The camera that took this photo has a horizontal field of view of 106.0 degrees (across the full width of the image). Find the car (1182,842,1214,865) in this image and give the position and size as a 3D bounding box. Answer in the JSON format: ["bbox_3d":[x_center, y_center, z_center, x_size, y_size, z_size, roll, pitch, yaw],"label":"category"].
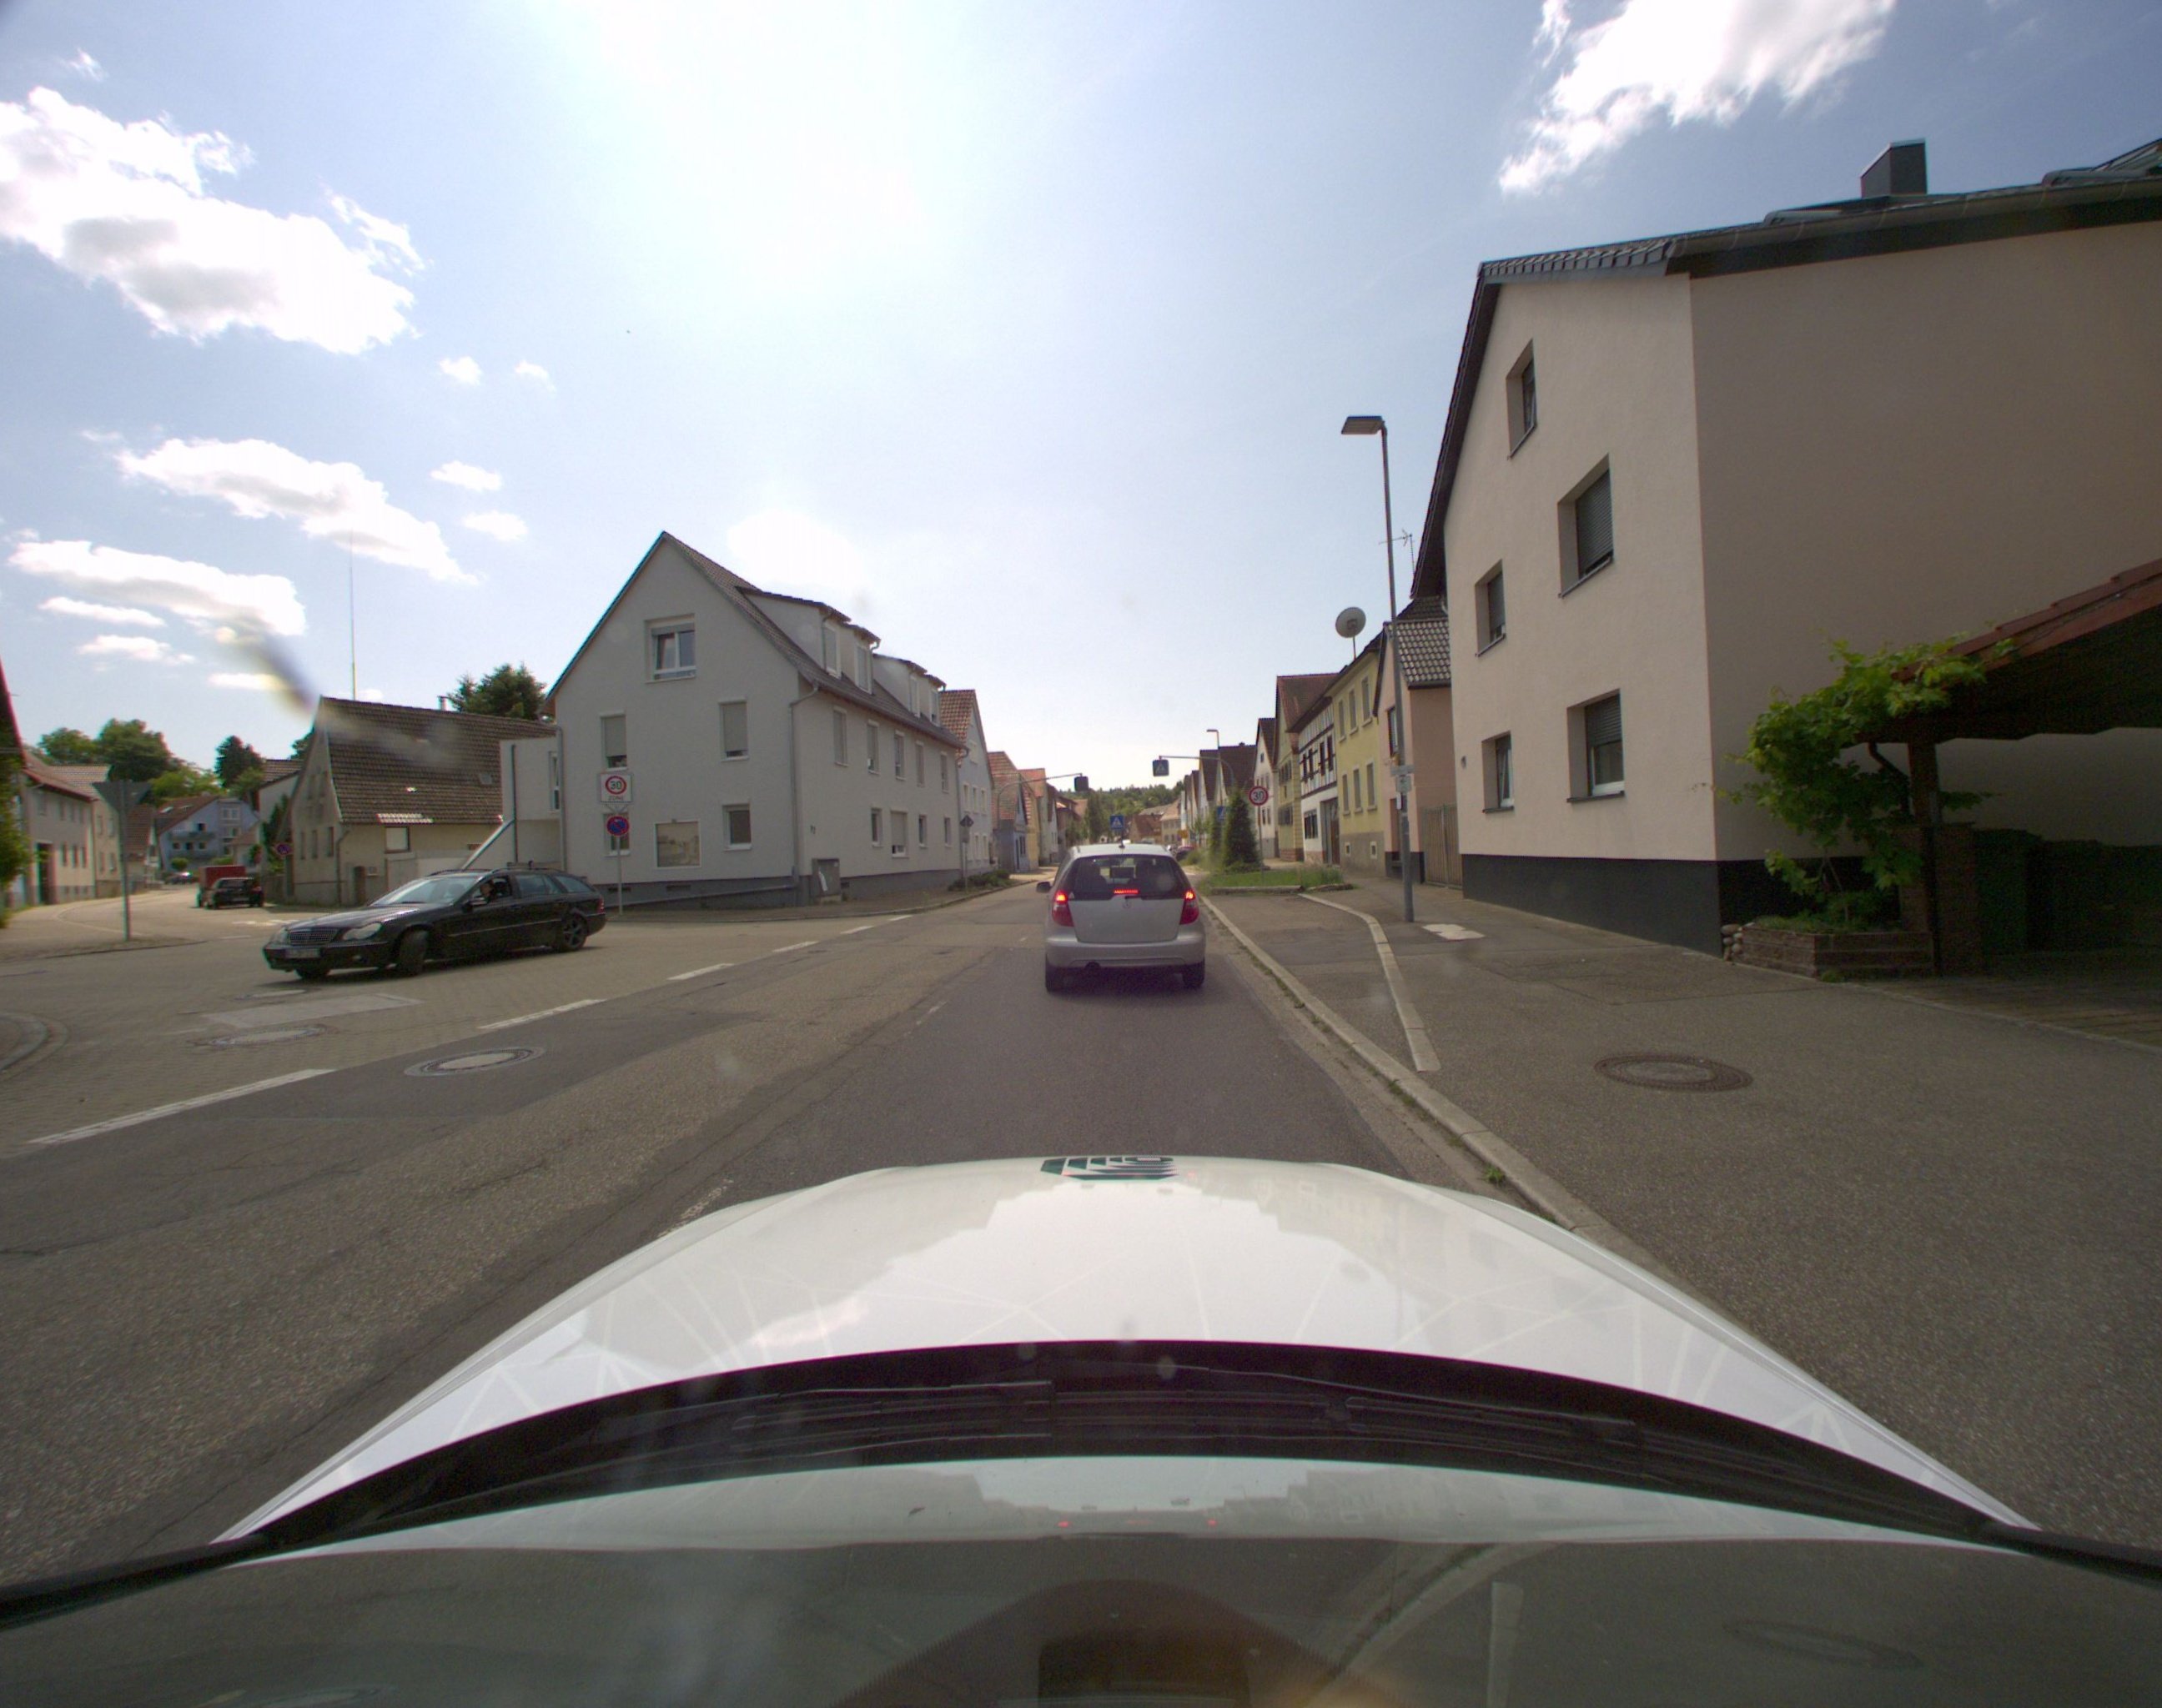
[{"bbox_3d":[8.310,-0.022,58.203,1.985,1.508,4.004,-2,-2,4],"label":"car"}]

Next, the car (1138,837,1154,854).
[{"bbox_3d":[8.476,-1.078,107.094,1.985,2.014,4.004,-2,-2,4],"label":"car"}]

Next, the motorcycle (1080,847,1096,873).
[{"bbox_3d":[0.445,0.367,52.077,0.876,1.561,1.969,-2,1,3],"label":"motorcycle"}]

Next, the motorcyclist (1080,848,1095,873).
[{"bbox_3d":[0.430,0.427,52.006,0.892,1.554,0.808,-2,0,3],"label":"motorcyclist"}]

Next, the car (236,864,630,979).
[{"bbox_3d":[-9.387,0.902,12.448,1.797,1.412,4.649,-2,-2,10],"label":"car"}]

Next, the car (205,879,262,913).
[{"bbox_3d":[-40.890,2.037,39.261,3.431,1.530,1.500,-3,-2,37],"label":"car"}]

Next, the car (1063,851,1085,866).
[{"bbox_3d":[-0.708,0.429,76.668,1.988,1.321,3.706,-1,-2,-1],"label":"car"}]

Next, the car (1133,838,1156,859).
[{"bbox_3d":[6.008,-0.483,77.127,1.985,1.816,4.003,-2,-2,3],"label":"car"}]

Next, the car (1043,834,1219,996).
[{"bbox_3d":[0.433,0.627,10.244,1.806,1.643,3.725,0,0,-3],"label":"car"}]

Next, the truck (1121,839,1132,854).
[{"bbox_3d":[8.313,-1.378,149.122,1.985,2.537,6.744,-2,-2,3],"label":"truck"}]

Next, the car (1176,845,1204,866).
[{"bbox_3d":[8.708,0.156,65.380,1.985,1.508,4.004,-2,-2,4],"label":"car"}]

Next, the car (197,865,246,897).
[{"bbox_3d":[-45.123,1.429,42.741,3.431,1.635,1.406,-3,-2,37],"label":"car"}]

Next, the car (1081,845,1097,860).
[{"bbox_3d":[0.938,-0.197,95.140,1.660,1.596,4.004,-2,-2,4],"label":"car"}]

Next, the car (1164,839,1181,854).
[{"bbox_3d":[12.158,-0.987,108.743,1.985,1.816,4.003,-2,-2,3],"label":"car"}]
